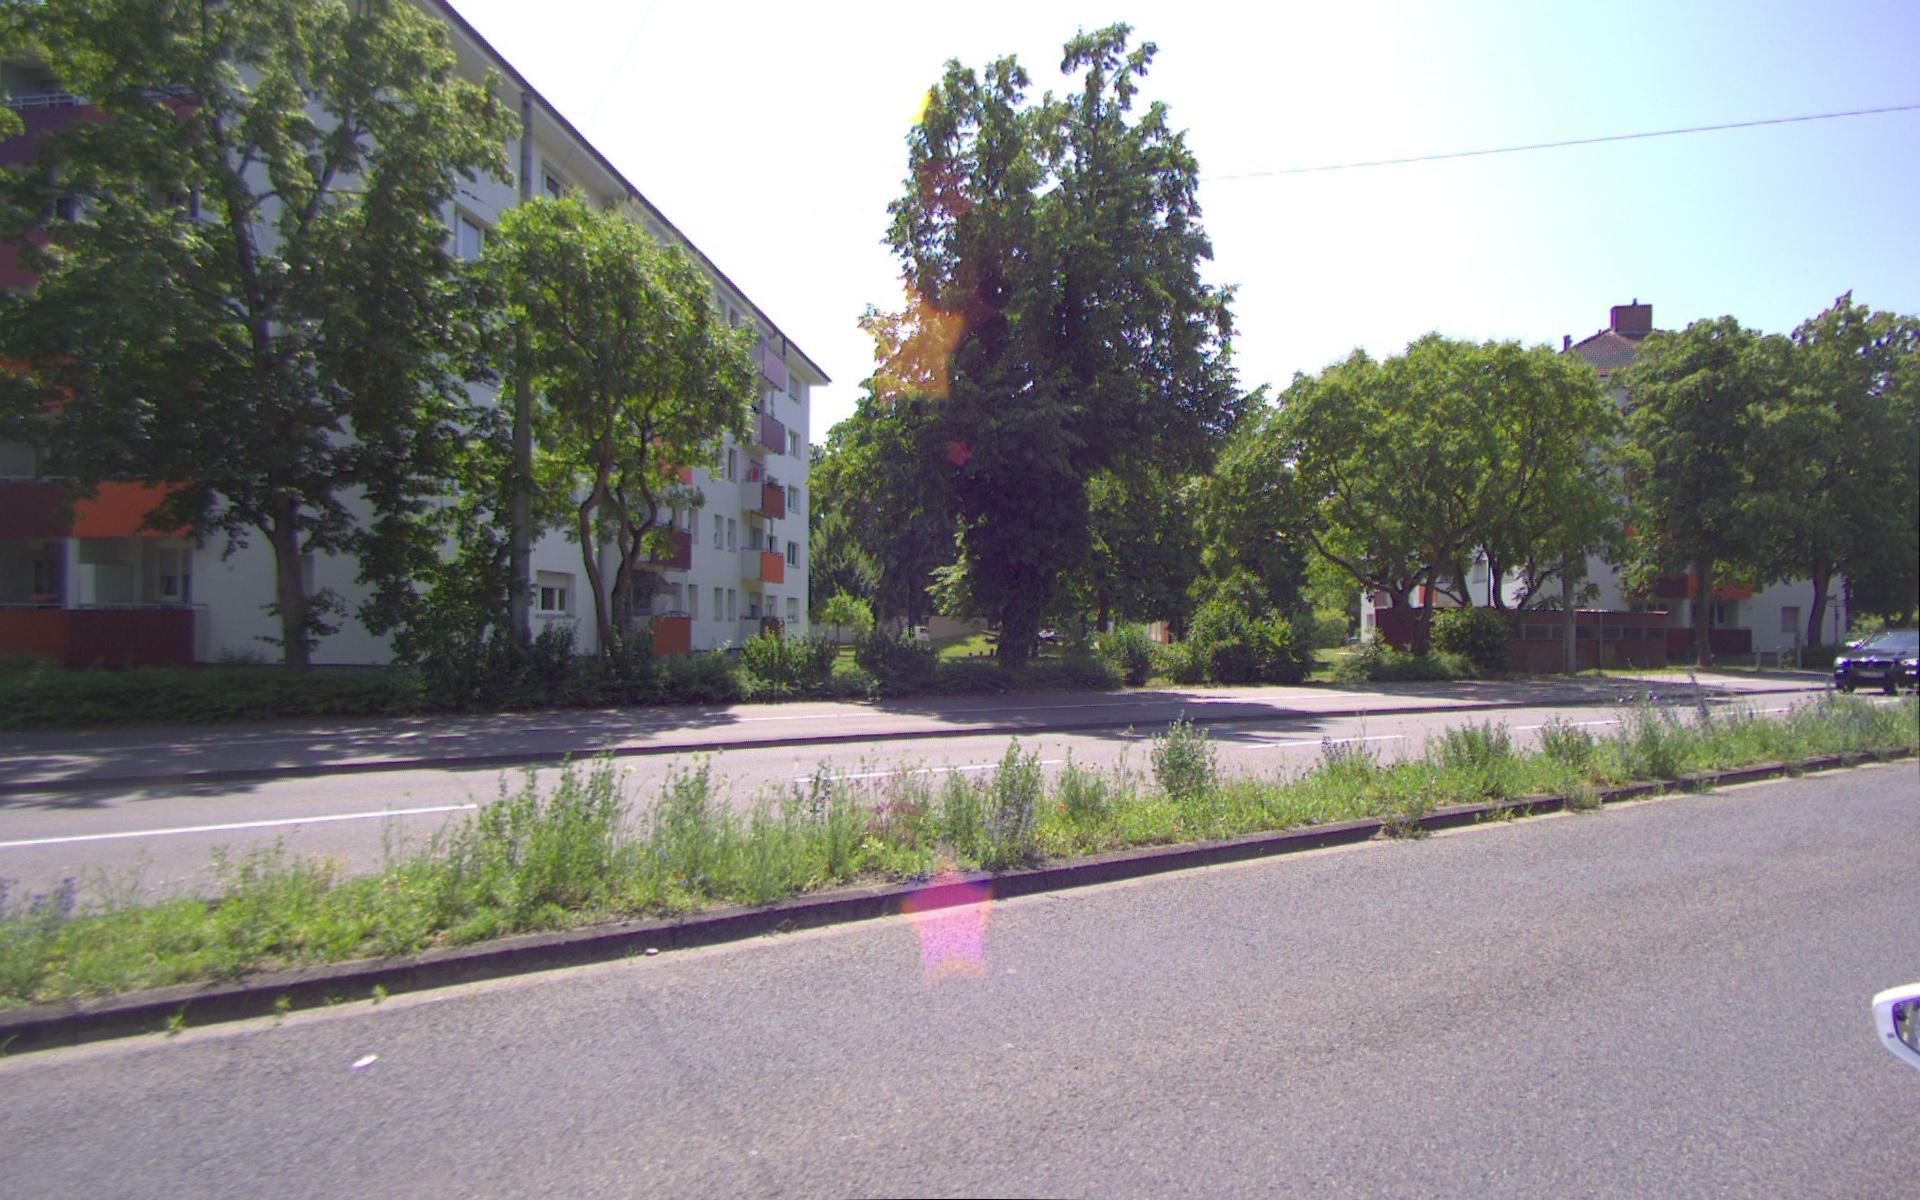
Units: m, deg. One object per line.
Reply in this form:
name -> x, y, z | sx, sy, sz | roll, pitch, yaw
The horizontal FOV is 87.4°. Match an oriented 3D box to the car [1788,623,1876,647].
car -> 65.397, 2.628, 75.362 | 1.980, 1.781, 4.636 | 1, -2, -35

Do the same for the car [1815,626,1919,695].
car -> 24.438, 1.554, 26.077 | 4.700, 1.647, 1.914 | 2, -3, -30
